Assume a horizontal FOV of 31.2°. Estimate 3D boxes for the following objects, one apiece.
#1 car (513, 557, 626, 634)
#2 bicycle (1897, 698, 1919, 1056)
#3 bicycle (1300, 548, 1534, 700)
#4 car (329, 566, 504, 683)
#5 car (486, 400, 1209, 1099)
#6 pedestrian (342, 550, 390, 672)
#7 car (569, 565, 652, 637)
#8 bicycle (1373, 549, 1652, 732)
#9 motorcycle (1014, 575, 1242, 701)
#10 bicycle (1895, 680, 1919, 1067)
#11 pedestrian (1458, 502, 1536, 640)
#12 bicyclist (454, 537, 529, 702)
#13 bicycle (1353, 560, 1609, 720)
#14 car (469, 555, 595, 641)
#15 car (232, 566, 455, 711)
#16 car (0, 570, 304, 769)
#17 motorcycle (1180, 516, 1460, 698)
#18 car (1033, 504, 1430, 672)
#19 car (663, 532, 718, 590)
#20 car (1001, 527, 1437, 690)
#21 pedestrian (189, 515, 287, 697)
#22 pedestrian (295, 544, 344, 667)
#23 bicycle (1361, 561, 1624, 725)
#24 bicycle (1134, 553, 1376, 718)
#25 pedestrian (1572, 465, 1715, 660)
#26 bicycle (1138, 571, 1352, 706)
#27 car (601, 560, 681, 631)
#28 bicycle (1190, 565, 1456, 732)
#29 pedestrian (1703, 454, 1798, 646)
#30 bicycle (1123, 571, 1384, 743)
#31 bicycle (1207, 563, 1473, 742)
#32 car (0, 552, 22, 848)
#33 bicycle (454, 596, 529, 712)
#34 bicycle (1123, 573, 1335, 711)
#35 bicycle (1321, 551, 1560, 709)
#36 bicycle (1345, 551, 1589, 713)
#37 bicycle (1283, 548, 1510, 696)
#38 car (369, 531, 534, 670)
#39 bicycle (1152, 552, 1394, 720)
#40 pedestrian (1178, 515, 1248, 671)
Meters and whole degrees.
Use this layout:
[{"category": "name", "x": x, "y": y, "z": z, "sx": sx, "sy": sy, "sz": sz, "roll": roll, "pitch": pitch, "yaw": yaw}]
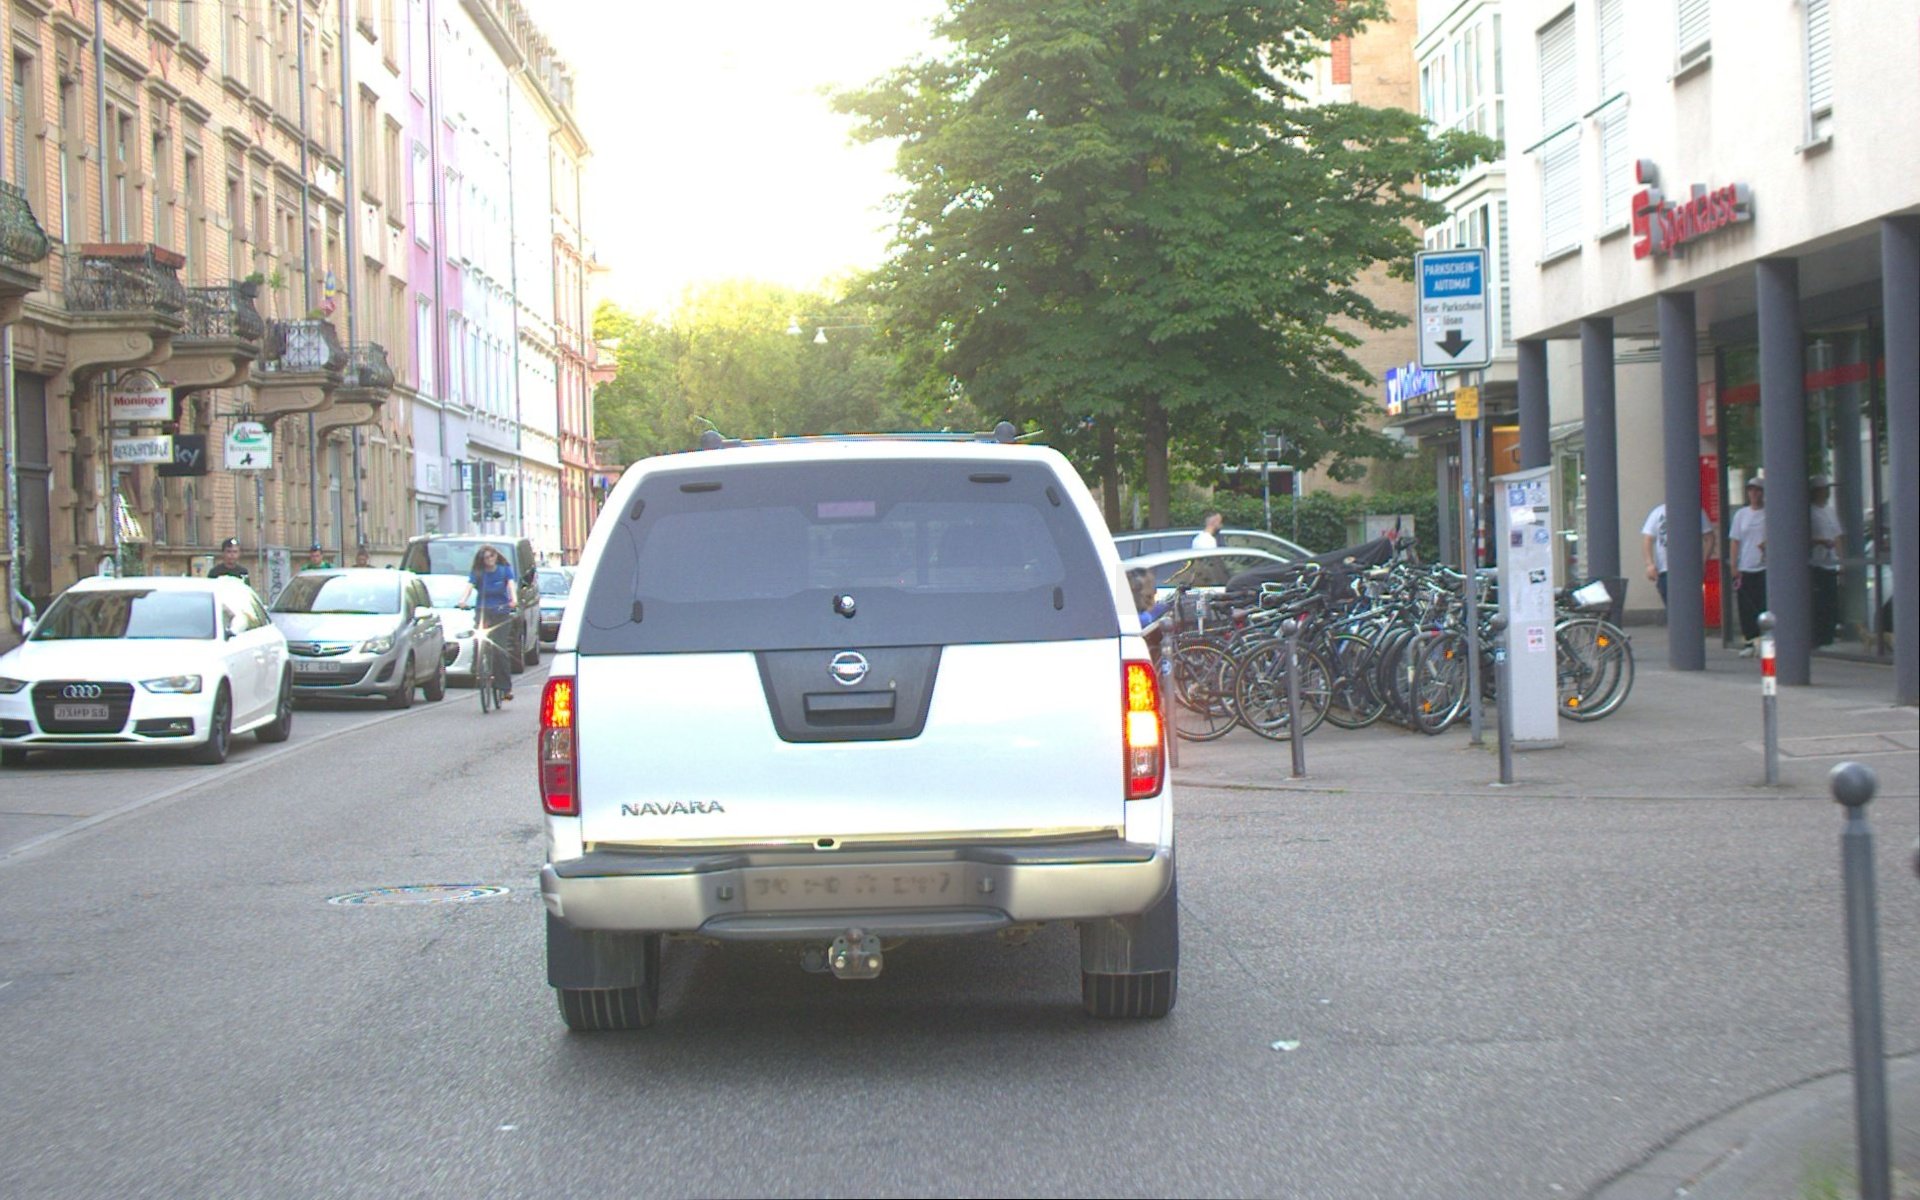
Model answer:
[{"category": "car", "x": -7.743, "y": -0.112, "z": 68.399, "sx": 1.834, "sy": 1.453, "sz": 4.207, "roll": 1, "pitch": 1, "yaw": -1}, {"category": "bicycle", "x": 2.882, "y": 0.706, "z": 6.555, "sx": 1.942, "sy": 1.131, "sz": 0.656, "roll": -4, "pitch": 0, "yaw": 36}, {"category": "bicycle", "x": 3.707, "y": 0.195, "z": 27.963, "sx": 1.722, "sy": 1.114, "sz": 0.654, "roll": -4, "pitch": 0, "yaw": -4}, {"category": "car", "x": -6.985, "y": 0.276, "z": 44.548, "sx": 1.783, "sy": 1.418, "sz": 4.486, "roll": 0, "pitch": 1, "yaw": -3}, {"category": "car", "x": -0.312, "y": 0.371, "z": 11.723, "sx": 1.911, "sy": 1.847, "sz": 5.270, "roll": 0, "pitch": 1, "yaw": 0}, {"category": "pedestrian", "x": -8.755, "y": 0.151, "z": 50.677, "sx": 0.605, "sy": 1.766, "sz": 0.777, "roll": 1, "pitch": 1, "yaw": -5}, {"category": "car", "x": -7.907, "y": 0.000, "z": 77.930, "sx": 1.636, "sy": 1.560, "sz": 3.782, "roll": -1, "pitch": 1, "yaw": -2}, {"category": "bicycle", "x": 3.769, "y": 0.271, "z": 23.456, "sx": 1.722, "sy": 1.128, "sz": 0.579, "roll": -4, "pitch": 0, "yaw": -13}, {"category": "motorcycle", "x": 1.642, "y": 0.366, "z": 33.552, "sx": 2.057, "sy": 1.074, "sz": 0.664, "roll": -4, "pitch": 0, "yaw": -16}, {"category": "bicycle", "x": 3.136, "y": 0.693, "z": 7.502, "sx": 1.942, "sy": 1.131, "sz": 0.656, "roll": -4, "pitch": 0, "yaw": 36}, {"category": "pedestrian", "x": 6.893, "y": -0.365, "z": 44.142, "sx": 0.727, "sy": 1.710, "sz": 0.963, "roll": -4, "pitch": 0, "yaw": -1}, {"category": "bicyclist", "x": -4.729, "y": 0.190, "z": 34.751, "sx": 0.644, "sy": 1.615, "sz": 0.918, "roll": -3, "pitch": 1, "yaw": -7}, {"category": "bicycle", "x": 3.797, "y": 0.286, "z": 25.155, "sx": 1.722, "sy": 1.050, "sz": 0.653, "roll": -4, "pitch": 0, "yaw": 2}, {"category": "car", "x": -7.342, "y": -0.037, "z": 59.335, "sx": 1.736, "sy": 1.413, "sz": 4.779, "roll": 0, "pitch": 0, "yaw": -2}, {"category": "car", "x": -6.602, "y": 0.372, "z": 37.178, "sx": 1.717, "sy": 1.452, "sz": 4.000, "roll": 0, "pitch": 1, "yaw": 0}, {"category": "car", "x": -6.516, "y": 0.494, "z": 27.562, "sx": 1.758, "sy": 1.407, "sz": 4.509, "roll": -1, "pitch": 1, "yaw": -2}, {"category": "motorcycle", "x": 3.403, "y": 0.066, "z": 32.679, "sx": 2.492, "sy": 1.544, "sz": 0.824, "roll": -4, "pitch": 0, "yaw": 2}, {"category": "car", "x": 3.143, "y": -0.152, "z": 40.376, "sx": 4.398, "sy": 1.642, "sz": 1.746, "roll": -4, "pitch": 1, "yaw": -2}, {"category": "car", "x": -9.449, "y": -1.366, "z": 120.398, "sx": 1.810, "sy": 1.970, "sz": 4.187, "roll": 0, "pitch": 0, "yaw": -6}, {"category": "car", "x": 2.803, "y": 0.077, "z": 37.677, "sx": 4.422, "sy": 1.450, "sz": 1.780, "roll": -4, "pitch": 1, "yaw": -7}, {"category": "pedestrian", "x": -7.098, "y": 0.062, "z": 33.840, "sx": 0.554, "sy": 1.749, "sz": 1.022, "roll": -1, "pitch": -1, "yaw": 12}, {"category": "pedestrian", "x": -9.373, "y": 0.073, "z": 50.333, "sx": 0.580, "sy": 1.765, "sz": 0.998, "roll": 1, "pitch": 1, "yaw": -5}, {"category": "bicycle", "x": 3.779, "y": 0.300, "z": 24.482, "sx": 1.722, "sy": 1.050, "sz": 0.653, "roll": -4, "pitch": 0, "yaw": 2}, {"category": "bicycle", "x": 2.437, "y": 0.288, "z": 28.513, "sx": 1.869, "sy": 1.178, "sz": 0.743, "roll": -5, "pitch": 0, "yaw": 4}, {"category": "pedestrian", "x": 6.260, "y": -0.339, "z": 31.484, "sx": 0.774, "sy": 1.717, "sz": 0.913, "roll": -6, "pitch": 3, "yaw": -44}, {"category": "bicycle", "x": 2.518, "y": 0.339, "z": 30.506, "sx": 1.772, "sy": 1.019, "sz": 0.565, "roll": -5, "pitch": 0, "yaw": 2}, {"category": "car", "x": -7.795, "y": -0.125, "z": 84.261, "sx": 1.844, "sy": 1.653, "sz": 4.253, "roll": -2, "pitch": 1, "yaw": -4}, {"category": "bicycle", "x": 2.679, "y": 0.354, "z": 25.515, "sx": 1.809, "sy": 1.114, "sz": 0.707, "roll": -4, "pitch": 0, "yaw": -3}, {"category": "pedestrian", "x": 7.284, "y": -0.466, "z": 31.670, "sx": 0.663, "sy": 1.717, "sz": 0.662, "roll": -2, "pitch": 2, "yaw": 26}, {"category": "bicycle", "x": 2.099, "y": 0.401, "z": 24.711, "sx": 1.722, "sy": 1.114, "sz": 0.707, "roll": -4, "pitch": 0, "yaw": -3}, {"category": "bicycle", "x": 2.623, "y": 0.357, "z": 23.860, "sx": 1.722, "sy": 1.114, "sz": 0.707, "roll": -4, "pitch": 0, "yaw": 2}, {"category": "car", "x": -6.183, "y": 0.598, "z": 17.192, "sx": 1.853, "sy": 1.628, "sz": 4.446, "roll": -1, "pitch": 1, "yaw": -1}, {"category": "bicycle", "x": -4.723, "y": 0.525, "z": 34.743, "sx": 0.644, "sy": 1.077, "sz": 2.169, "roll": -3, "pitch": 1, "yaw": -7}, {"category": "bicycle", "x": 2.329, "y": 0.362, "z": 29.892, "sx": 1.719, "sy": 1.028, "sz": 0.667, "roll": -5, "pitch": 0, "yaw": 2}, {"category": "bicycle", "x": 3.746, "y": 0.228, "z": 26.881, "sx": 1.722, "sy": 1.114, "sz": 0.653, "roll": -4, "pitch": 0, "yaw": 2}, {"category": "bicycle", "x": 3.868, "y": 0.240, "z": 26.314, "sx": 1.722, "sy": 1.114, "sz": 0.653, "roll": -4, "pitch": 0, "yaw": 2}, {"category": "bicycle", "x": 3.634, "y": 0.180, "z": 28.683, "sx": 1.722, "sy": 1.114, "sz": 0.654, "roll": -4, "pitch": 0, "yaw": -4}, {"category": "car", "x": -7.342, "y": -0.022, "z": 50.077, "sx": 1.993, "sy": 1.917, "sz": 4.952, "roll": 0, "pitch": 1, "yaw": -4}, {"category": "bicycle", "x": 2.526, "y": 0.282, "z": 27.672, "sx": 1.789, "sy": 1.178, "sz": 0.733, "roll": -5, "pitch": 0, "yaw": 9}, {"category": "pedestrian", "x": 2.866, "y": -0.075, "z": 38.962, "sx": 0.625, "sy": 1.747, "sz": 0.588, "roll": -1, "pitch": -1, "yaw": -13}]
